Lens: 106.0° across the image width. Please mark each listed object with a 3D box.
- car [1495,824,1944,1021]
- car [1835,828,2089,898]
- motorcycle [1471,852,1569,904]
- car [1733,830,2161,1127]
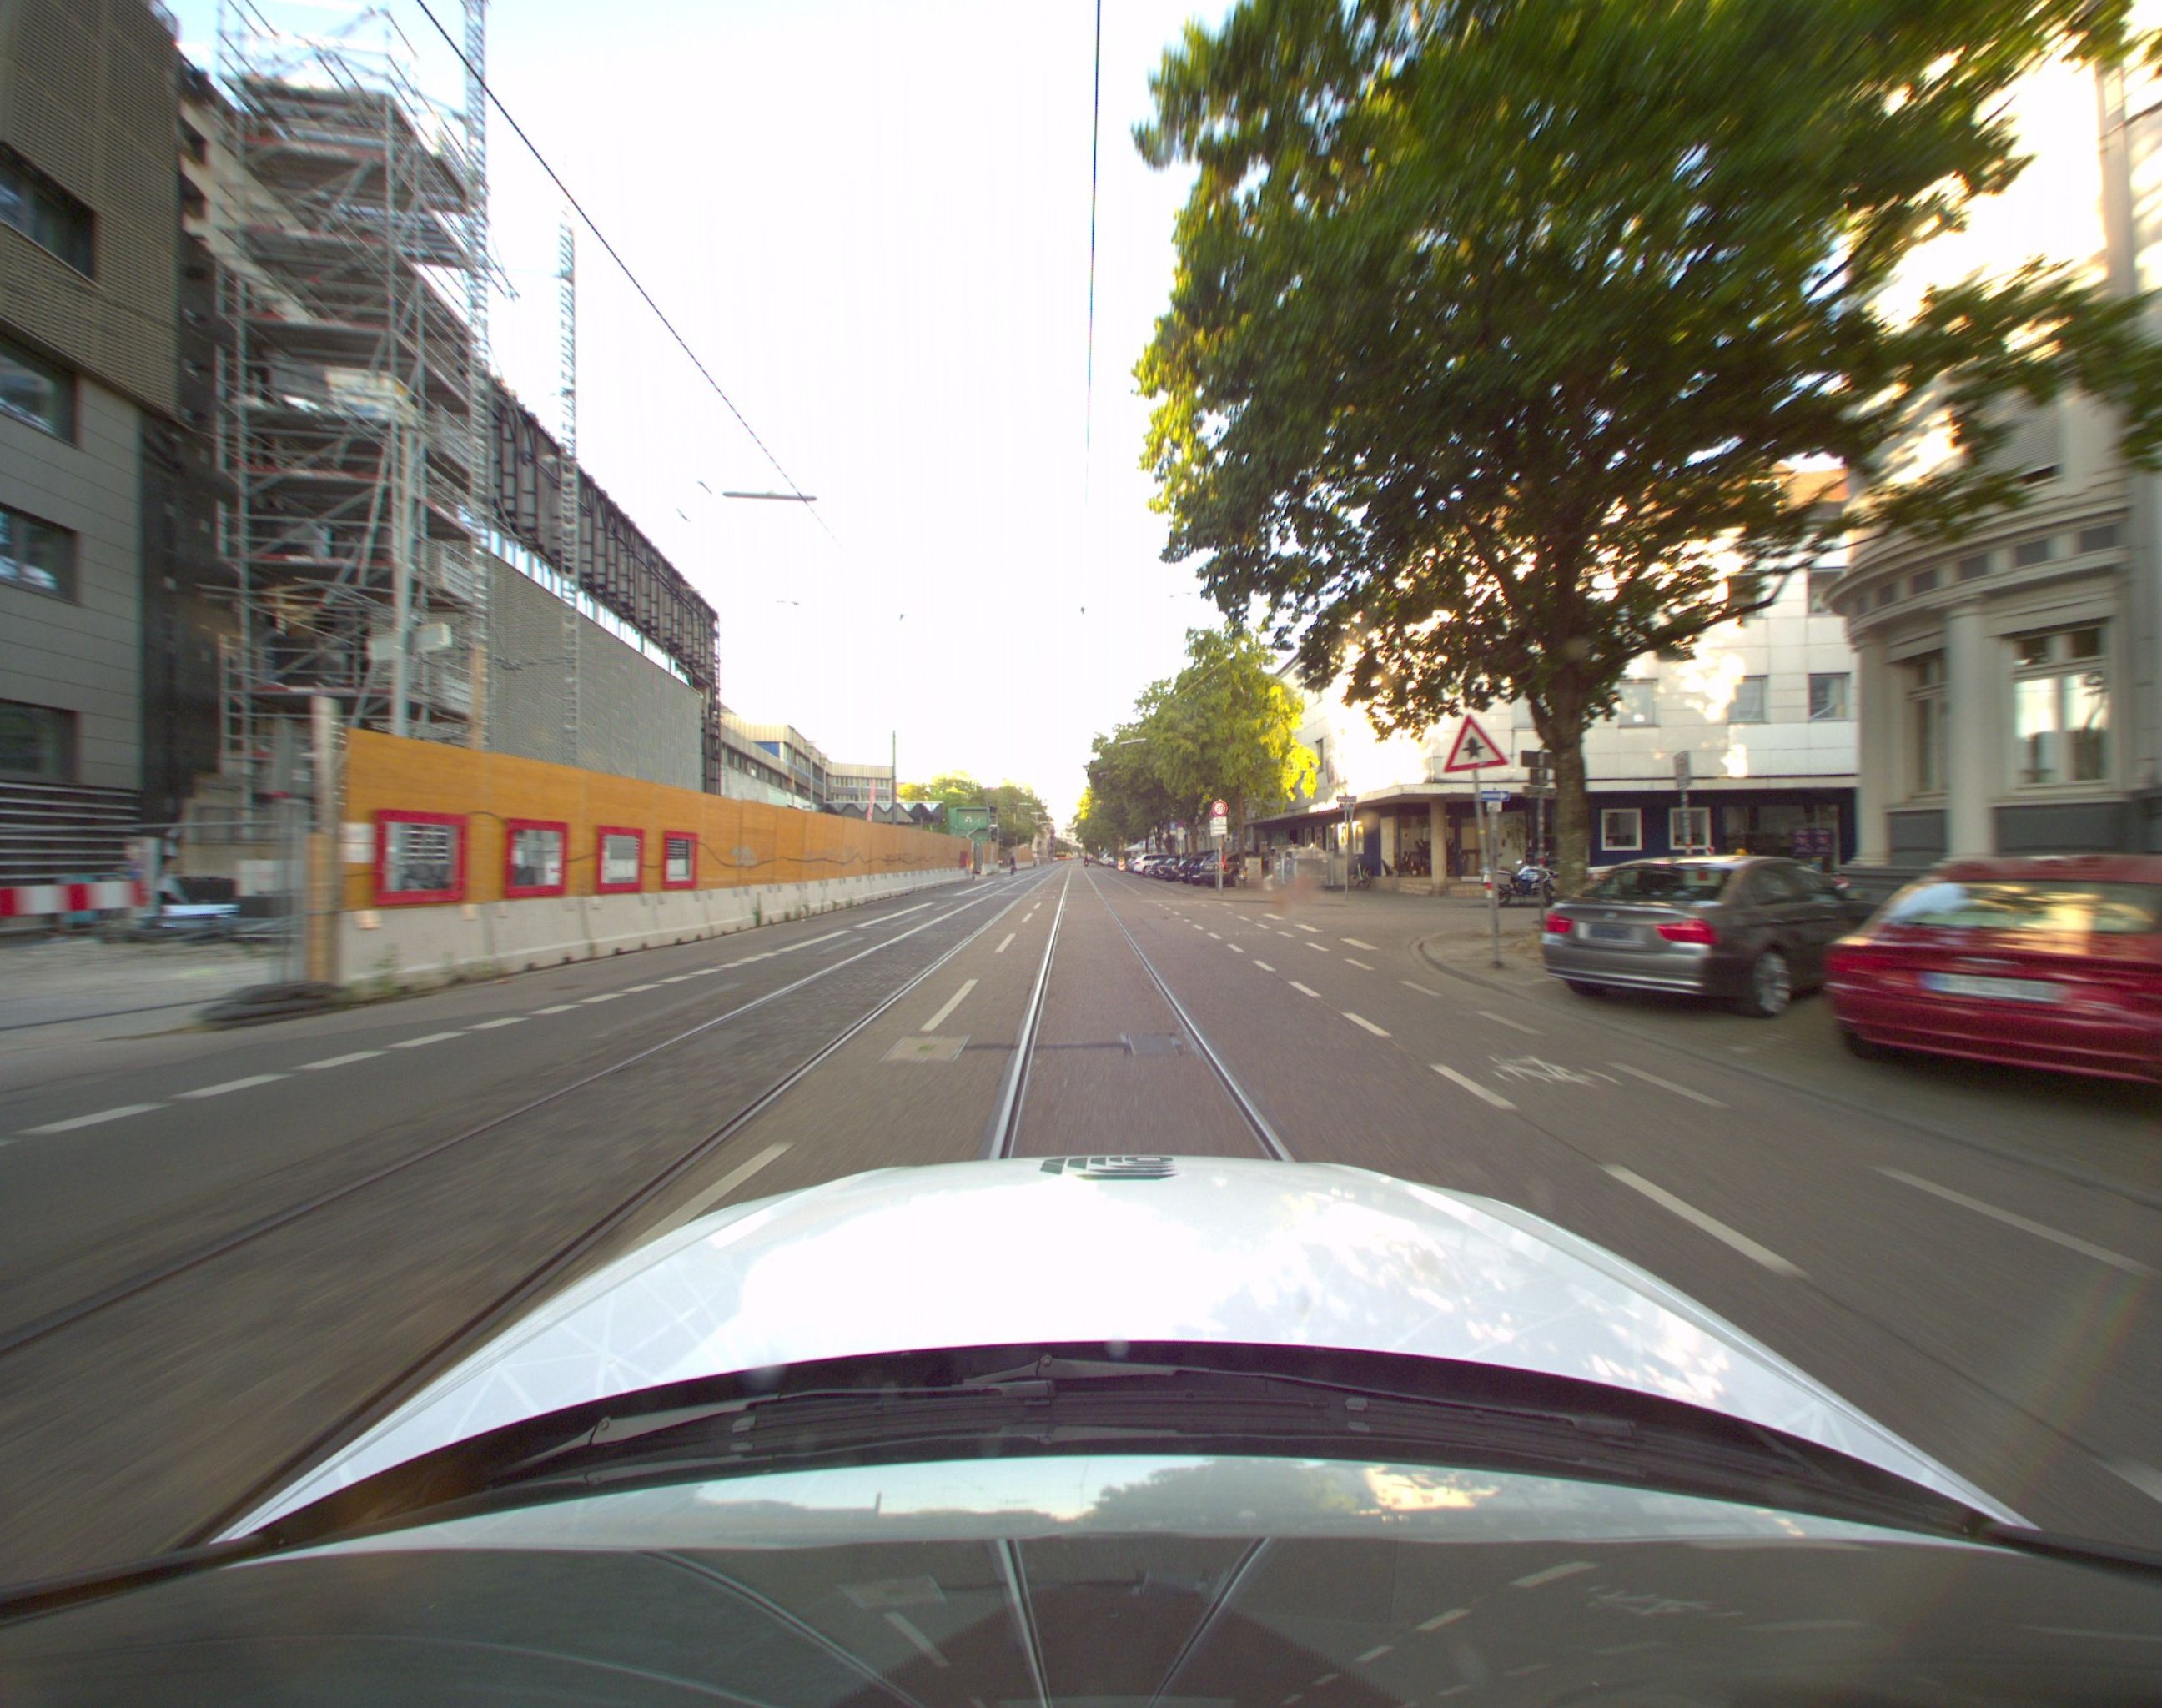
[{"bbox_3d":[6.881,0.546,8.736,4.614,1.513,1.848,-3,1,-24],"label":"car"},{"bbox_3d":[22.893,0.236,21.329,4.323,1.668,1.858,-1,0,8],"label":"car"},{"bbox_3d":[12.311,0.666,22.920,2.080,1.405,1.292,-1,-1,6],"label":"motorcycle"},{"bbox_3d":[7.109,0.621,6.066,4.419,1.445,1.969,-3,0,-29],"label":"car"}]
